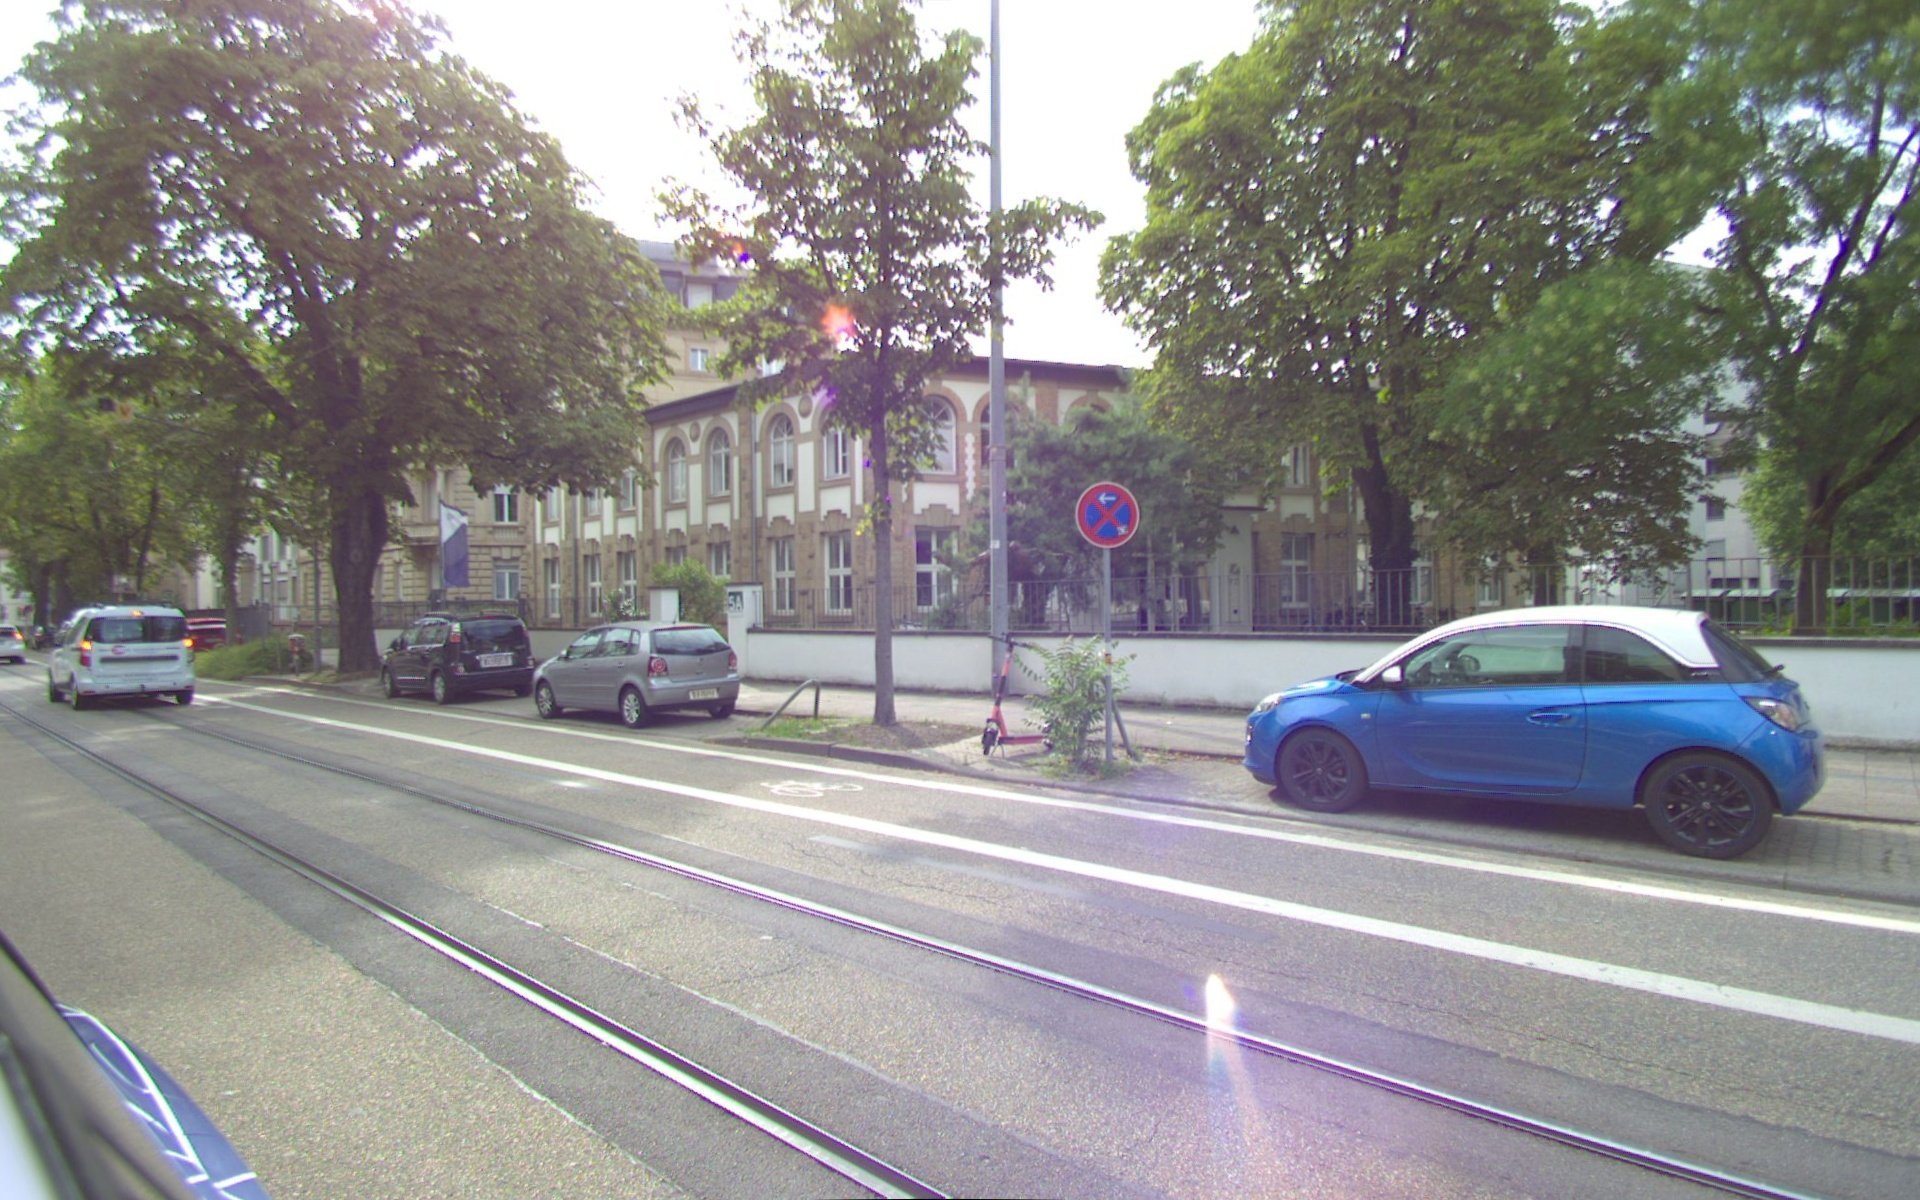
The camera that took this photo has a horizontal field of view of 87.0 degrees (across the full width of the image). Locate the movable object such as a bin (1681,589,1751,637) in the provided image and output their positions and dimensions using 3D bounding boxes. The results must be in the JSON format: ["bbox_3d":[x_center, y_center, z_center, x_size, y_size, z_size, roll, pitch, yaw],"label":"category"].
[{"bbox_3d":[23.055,0.387,30.876,1.103,1.441,1.288,0,0,-21],"label":"movable object such as a bin"}]

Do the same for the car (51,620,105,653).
[{"bbox_3d":[-46.054,1.893,52.801,3.904,1.646,1.637,-2,-1,41],"label":"car"}]

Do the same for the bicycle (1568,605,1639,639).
[{"bbox_3d":[21.118,0.708,33.257,0.584,1.051,1.984,-1,0,-23],"label":"bicycle"}]

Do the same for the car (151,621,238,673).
[{"bbox_3d":[-26.394,1.590,34.861,3.904,1.646,1.637,-2,-1,41],"label":"car"}]

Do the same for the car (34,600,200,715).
[{"bbox_3d":[-15.801,0.993,18.890,4.376,1.898,1.714,-2,-1,41],"label":"car"}]

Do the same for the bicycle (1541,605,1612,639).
[{"bbox_3d":[19.898,0.692,32.711,0.584,1.051,1.984,-1,0,-23],"label":"bicycle"}]

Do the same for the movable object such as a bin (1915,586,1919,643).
[{"bbox_3d":[24.982,0.354,25.268,1.103,1.441,1.288,0,0,-21],"label":"movable object such as a bin"}]

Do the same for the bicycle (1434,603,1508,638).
[{"bbox_3d":[15.963,0.632,31.654,1.978,1.051,0.586,-1,0,44],"label":"bicycle"}]

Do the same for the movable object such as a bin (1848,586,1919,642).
[{"bbox_3d":[24.636,0.368,26.792,1.103,1.441,1.288,0,0,-21],"label":"movable object such as a bin"}]

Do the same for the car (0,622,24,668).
[{"bbox_3d":[-35.973,1.650,37.357,4.333,1.624,1.714,-2,-2,42],"label":"car"}]

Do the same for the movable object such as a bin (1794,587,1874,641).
[{"bbox_3d":[24.265,0.372,28.113,1.103,1.441,1.288,0,0,-21],"label":"movable object such as a bin"}]

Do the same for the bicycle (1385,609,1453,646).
[{"bbox_3d":[13.744,0.806,30.361,0.584,1.051,1.984,-1,0,-23],"label":"bicycle"}]

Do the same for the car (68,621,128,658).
[{"bbox_3d":[-40.729,1.827,47.783,3.904,1.646,1.637,-2,-1,41],"label":"car"}]

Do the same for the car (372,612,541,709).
[{"bbox_3d":[-9.711,1.092,19.413,3.724,1.646,1.637,-2,-1,41],"label":"car"}]

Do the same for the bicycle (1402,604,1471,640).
[{"bbox_3d":[14.438,0.650,30.697,0.584,1.051,1.984,-1,0,-23],"label":"bicycle"}]

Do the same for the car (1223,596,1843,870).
[{"bbox_3d":[3.933,0.750,7.280,3.601,1.476,1.611,-2,-1,41],"label":"car"}]

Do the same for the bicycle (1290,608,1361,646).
[{"bbox_3d":[10.565,0.758,29.315,0.584,1.051,1.984,-1,0,-30],"label":"bicycle"}]

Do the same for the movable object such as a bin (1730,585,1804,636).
[{"bbox_3d":[23.561,0.291,29.577,1.103,1.441,1.288,0,0,-21],"label":"movable object such as a bin"}]

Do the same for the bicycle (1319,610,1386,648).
[{"bbox_3d":[11.446,0.831,29.547,0.584,1.051,1.984,-1,0,-23],"label":"bicycle"}]

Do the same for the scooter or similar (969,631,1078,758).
[{"bbox_3d":[0.646,0.937,10.262,0.988,1.176,0.370,-3,0,-24],"label":"scooter or similar"}]

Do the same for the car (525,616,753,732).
[{"bbox_3d":[-4.827,1.011,14.991,3.572,1.476,1.611,-2,-1,41],"label":"car"}]

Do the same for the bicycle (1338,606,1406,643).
[{"bbox_3d":[12.141,0.713,29.877,0.584,1.051,1.984,-1,0,-23],"label":"bicycle"}]
